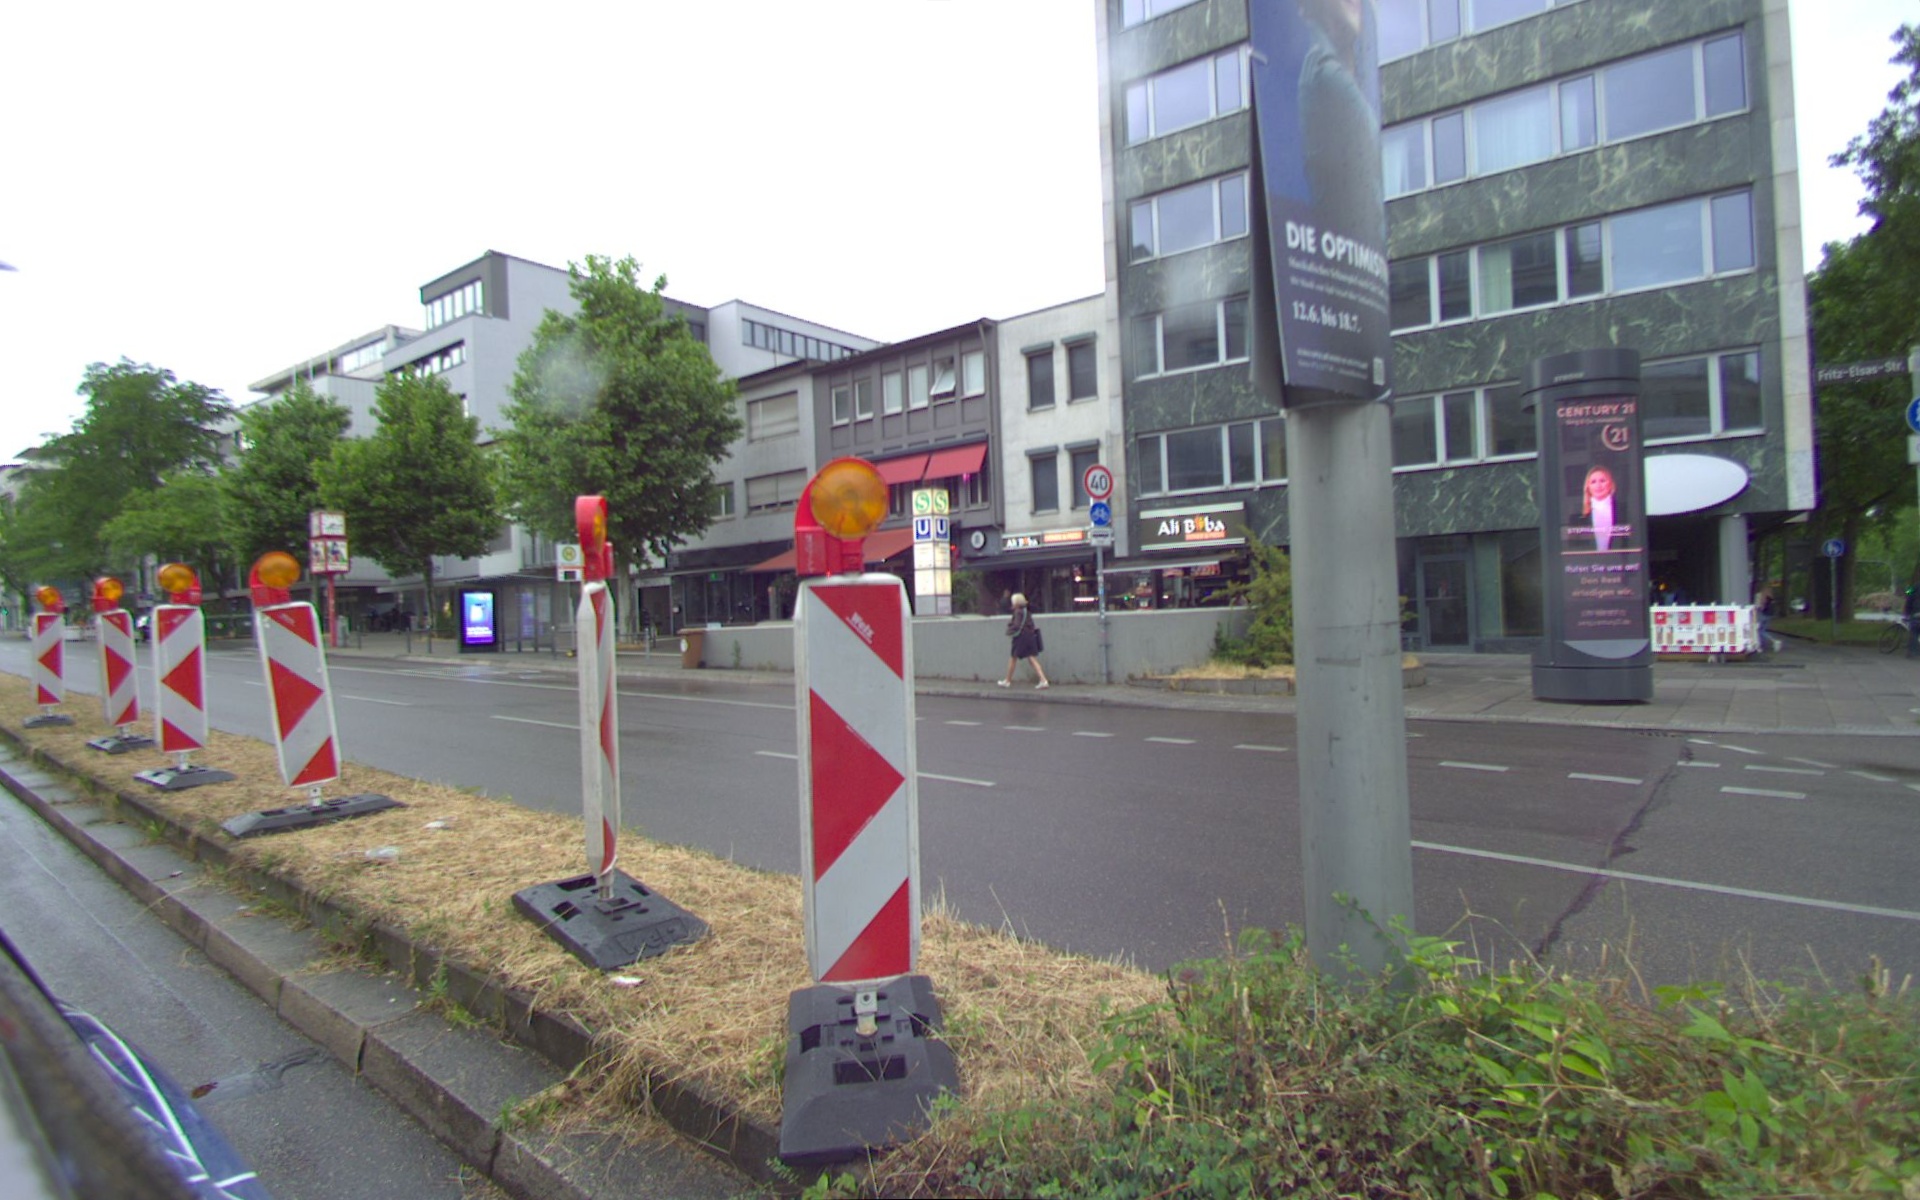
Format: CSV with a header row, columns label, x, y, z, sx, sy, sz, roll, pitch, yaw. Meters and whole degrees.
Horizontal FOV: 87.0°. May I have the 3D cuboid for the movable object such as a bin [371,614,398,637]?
label,x,y,z,sx,sy,sz,roll,pitch,yaw
movable object such as a bin,-37.951,1.680,66.738,1.278,1.446,1.077,-1,-1,32

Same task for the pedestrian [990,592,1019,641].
label,x,y,z,sx,sy,sz,roll,pitch,yaw
pedestrian,1.323,0.492,30.129,0.587,1.461,0.597,-2,-1,36

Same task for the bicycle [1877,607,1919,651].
label,x,y,z,sx,sy,sz,roll,pitch,yaw
bicycle,20.857,0.614,21.621,0.468,0.941,1.803,0,-1,-39

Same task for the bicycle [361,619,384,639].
label,x,y,z,sx,sy,sz,roll,pitch,yaw
bicycle,-36.404,1.783,62.710,1.132,1.233,0.405,0,-1,-43

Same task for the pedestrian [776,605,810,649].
label,x,y,z,sx,sy,sz,roll,pitch,yaw
pedestrian,-5.647,0.922,34.186,0.912,1.461,0.683,-2,-1,37

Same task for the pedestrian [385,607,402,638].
label,x,y,z,sx,sy,sz,roll,pitch,yaw
pedestrian,-32.995,1.315,58.925,0.653,1.776,0.688,-1,-1,43

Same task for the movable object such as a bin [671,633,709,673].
label,x,y,z,sx,sy,sz,roll,pitch,yaw
movable object such as a bin,-6.278,1.224,23.535,0.680,0.904,0.527,-1,-2,32

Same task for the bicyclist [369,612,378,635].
label,x,y,z,sx,sy,sz,roll,pitch,yaw
bicyclist,-36.381,1.461,62.743,0.418,1.412,0.408,0,-1,-44

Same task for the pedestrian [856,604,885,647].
label,x,y,z,sx,sy,sz,roll,pitch,yaw
pedestrian,-3.037,0.860,34.345,0.690,1.461,0.720,-2,-1,34

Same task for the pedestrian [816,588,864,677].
label,x,y,z,sx,sy,sz,roll,pitch,yaw
pedestrian,-2.616,0.702,22.049,0.757,1.899,0.683,-2,-1,37

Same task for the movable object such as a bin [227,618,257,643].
label,x,y,z,sx,sy,sz,roll,pitch,yaw
movable object such as a bin,-43.328,1.824,61.093,1.088,1.437,1.265,-2,-1,41

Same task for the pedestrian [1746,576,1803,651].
label,x,y,z,sx,sy,sz,roll,pitch,yaw
pedestrian,18.277,0.322,22.703,0.922,1.597,0.822,-2,-5,41

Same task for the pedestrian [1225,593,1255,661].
label,x,y,z,sx,sy,sz,roll,pitch,yaw
pedestrian,7.952,0.759,28.752,0.590,1.899,0.749,-2,-1,34

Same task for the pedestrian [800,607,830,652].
label,x,y,z,sx,sy,sz,roll,pitch,yaw
pedestrian,-4.815,0.976,33.568,0.706,1.461,0.683,-2,-1,37

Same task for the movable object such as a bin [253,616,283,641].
label,x,y,z,sx,sy,sz,roll,pitch,yaw
movable object such as a bin,-42.491,1.743,62.136,1.088,1.437,1.265,-2,-1,41

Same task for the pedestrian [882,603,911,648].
label,x,y,z,sx,sy,sz,roll,pitch,yaw
pedestrian,-2.103,0.836,33.318,0.690,1.461,0.627,-2,-1,34

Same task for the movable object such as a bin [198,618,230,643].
label,x,y,z,sx,sy,sz,roll,pitch,yaw
movable object such as a bin,-44.241,1.817,60.001,1.088,1.437,1.345,-2,-1,41

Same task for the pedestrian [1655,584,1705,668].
label,x,y,z,sx,sy,sz,roll,pitch,yaw
pedestrian,16.569,0.617,23.294,0.875,1.868,1.012,-2,-5,37

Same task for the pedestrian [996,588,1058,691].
label,x,y,z,sx,sy,sz,roll,pitch,yaw
pedestrian,1.122,0.645,16.958,0.757,1.665,0.683,-2,-1,37

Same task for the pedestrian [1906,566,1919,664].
label,x,y,z,sx,sy,sz,roll,pitch,yaw
pedestrian,19.231,0.296,19.849,0.897,1.900,0.776,-2,-5,41

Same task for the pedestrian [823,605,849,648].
label,x,y,z,sx,sy,sz,roll,pitch,yaw
pedestrian,-4.344,0.925,35.410,0.546,1.461,0.683,-2,-1,37

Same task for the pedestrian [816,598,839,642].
label,x,y,z,sx,sy,sz,roll,pitch,yaw
pedestrian,-4.870,0.730,37.301,0.603,1.582,0.591,-1,-1,31

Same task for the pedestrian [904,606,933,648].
label,x,y,z,sx,sy,sz,roll,pitch,yaw
pedestrian,-1.358,0.875,32.867,0.690,1.354,0.627,-2,-1,34

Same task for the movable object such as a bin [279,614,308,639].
label,x,y,z,sx,sy,sz,roll,pitch,yaw
movable object such as a bin,-41.600,1.668,63.190,1.088,1.499,1.265,-2,-1,41

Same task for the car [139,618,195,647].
label,x,y,z,sx,sy,sz,roll,pitch,yaw
car,-48.032,1.978,61.283,4.019,1.648,1.761,-2,-1,38
